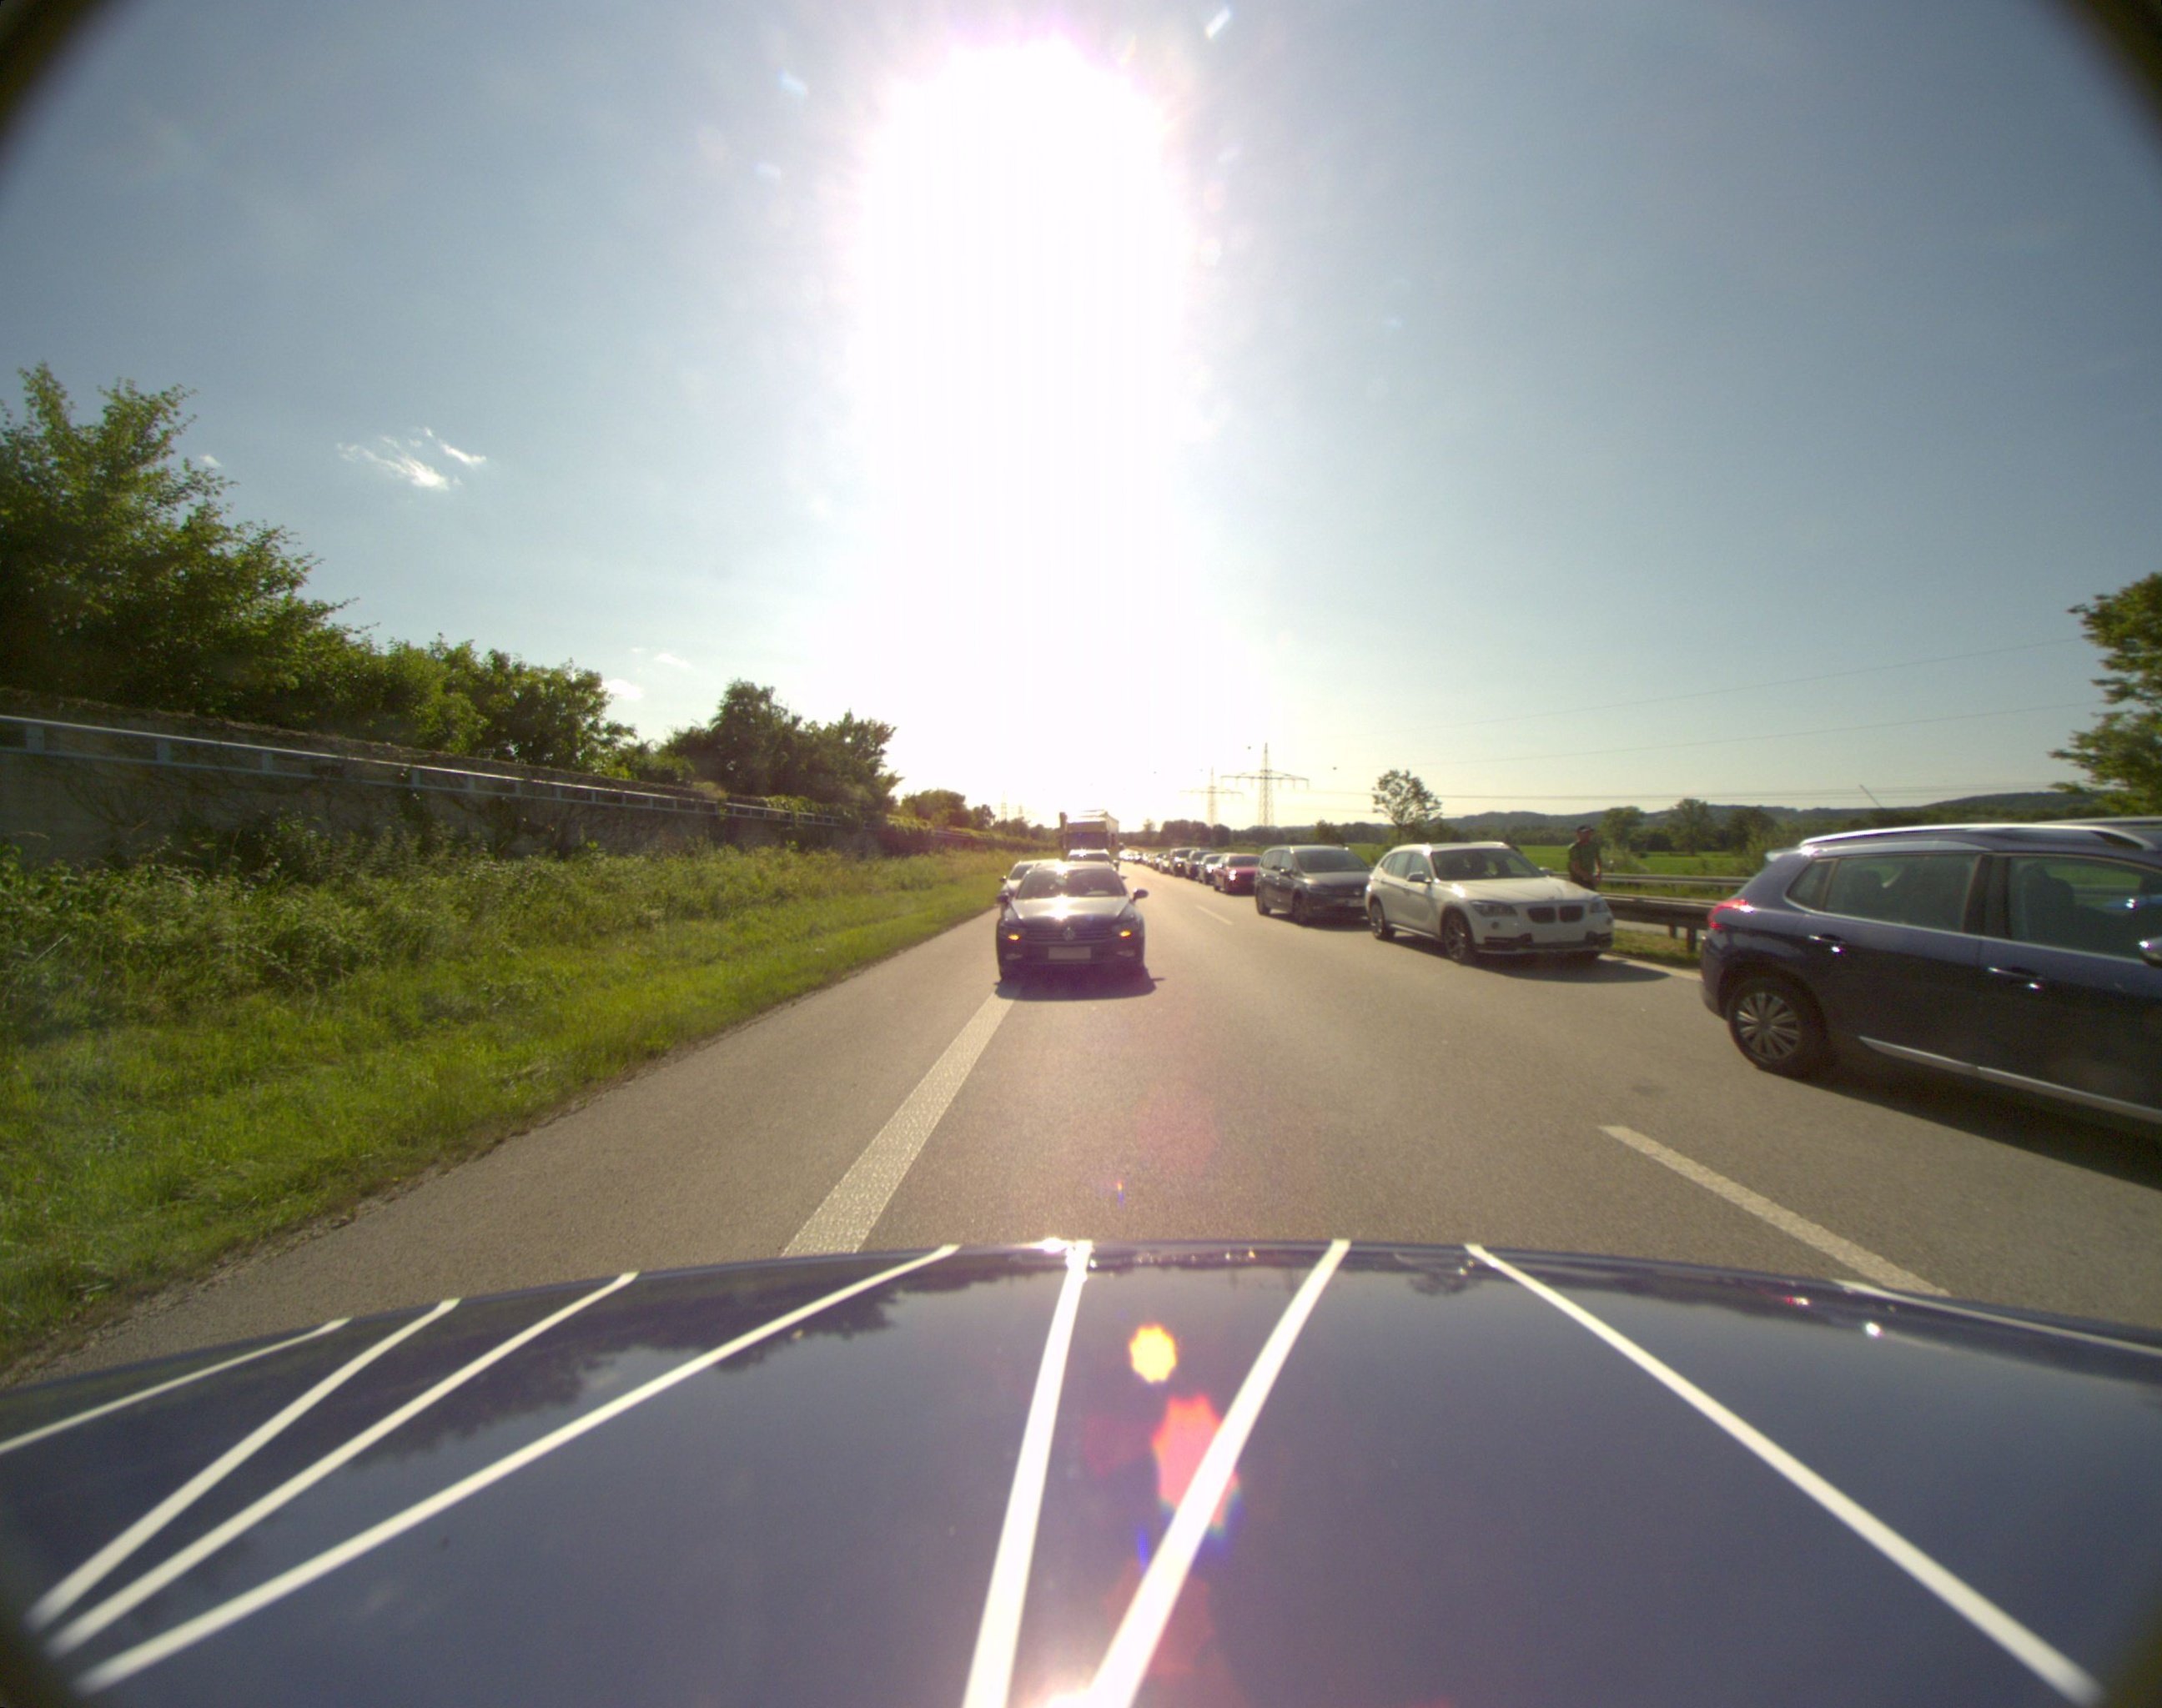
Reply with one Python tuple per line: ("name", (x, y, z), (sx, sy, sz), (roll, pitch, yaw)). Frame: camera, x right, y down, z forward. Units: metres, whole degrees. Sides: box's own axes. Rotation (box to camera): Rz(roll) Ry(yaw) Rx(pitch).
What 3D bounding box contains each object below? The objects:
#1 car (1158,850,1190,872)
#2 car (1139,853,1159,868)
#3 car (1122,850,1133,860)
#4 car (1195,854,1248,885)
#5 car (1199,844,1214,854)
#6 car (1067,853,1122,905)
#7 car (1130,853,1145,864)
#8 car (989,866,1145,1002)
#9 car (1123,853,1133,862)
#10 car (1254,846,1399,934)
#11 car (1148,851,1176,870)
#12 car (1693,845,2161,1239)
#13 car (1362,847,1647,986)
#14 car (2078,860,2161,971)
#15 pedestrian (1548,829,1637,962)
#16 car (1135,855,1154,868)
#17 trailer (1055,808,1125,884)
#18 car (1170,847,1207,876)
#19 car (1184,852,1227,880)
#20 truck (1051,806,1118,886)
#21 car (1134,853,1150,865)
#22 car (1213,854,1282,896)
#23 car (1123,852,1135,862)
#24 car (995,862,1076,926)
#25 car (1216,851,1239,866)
("car", (6.951, 0.497, 57.127), (1.998, 1.522, 4.000), (-1, 0, 1))
("car", (7.132, 0.616, 79.926), (1.819, 1.450, 4.118), (-2, 0, 3))
("car", (8.568, 0.143, 140.982), (1.813, 1.783, 3.773), (-1, 0, 1))
("car", (6.759, 0.693, 36.993), (1.895, 1.390, 4.000), (-1, 0, 1))
("car", (20.199, -0.804, 122.637), (1.863, 1.622, 4.393), (-2, 1, 3))
("car", (0.490, 0.792, 26.561), (1.716, 1.614, 4.326), (-2, 0, 2))
("car", (7.831, 0.625, 105.632), (1.819, 1.450, 4.117), (-2, 0, 1))
("car", (-0.090, 0.936, 10.747), (1.716, 1.405, 4.326), (-2, 0, 2))
("car", (8.131, 0.637, 131.653), (1.819, 1.450, 4.118), (-1, 0, 3))
("car", (5.151, 0.677, 16.532), (1.819, 1.606, 4.117), (-2, 0, 1))
("car", (7.036, 0.552, 66.421), (1.998, 1.522, 4.000), (-1, 0, 1))
("car", (5.158, 0.750, 3.308), (1.692, 1.526, 3.948), (-3, 0, -2))
("car", (5.640, 0.710, 10.822), (1.832, 1.564, 4.164), (-1, 0, 2))
("car", (14.988, 0.807, 8.507), (1.716, 1.405, 4.567), (-2, 0, 2))
("pedestrian", (6.992, 0.549, 10.421), (0.672, 1.740, 0.814), (-1, 1, 1))
("car", (7.212, 0.817, 86.519), (1.819, 1.450, 4.117), (-1, 0, 1))
("trailer", (0.890, -0.542, 49.497), (3.386, 4.089, 13.956), (-2, 1, 5))
("car", (7.005, 0.454, 49.950), (1.902, 1.777, 4.200), (-1, 0, 1))
("car", (7.005, 0.639, 43.079), (1.894, 1.446, 4.000), (-1, 0, 2))
("truck", (0.346, -0.454, 43.410), (3.332, 4.089, 6.970), (-2, 1, 3))
("car", (7.808, 0.580, 97.203), (1.819, 1.450, 4.118), (-1, 0, 2))
("car", (6.111, 0.725, 28.302), (1.819, 1.450, 4.118), (-1, 0, 3))
("car", (7.990, 0.476, 126.007), (1.819, 1.450, 4.118), (-2, 0, 3))
("car", (-1.091, 0.968, 20.134), (1.716, 1.417, 4.326), (-2, 0, 2))
("car", (14.322, 0.415, 74.444), (1.713, 1.418, 3.787), (-1, 0, 2))
